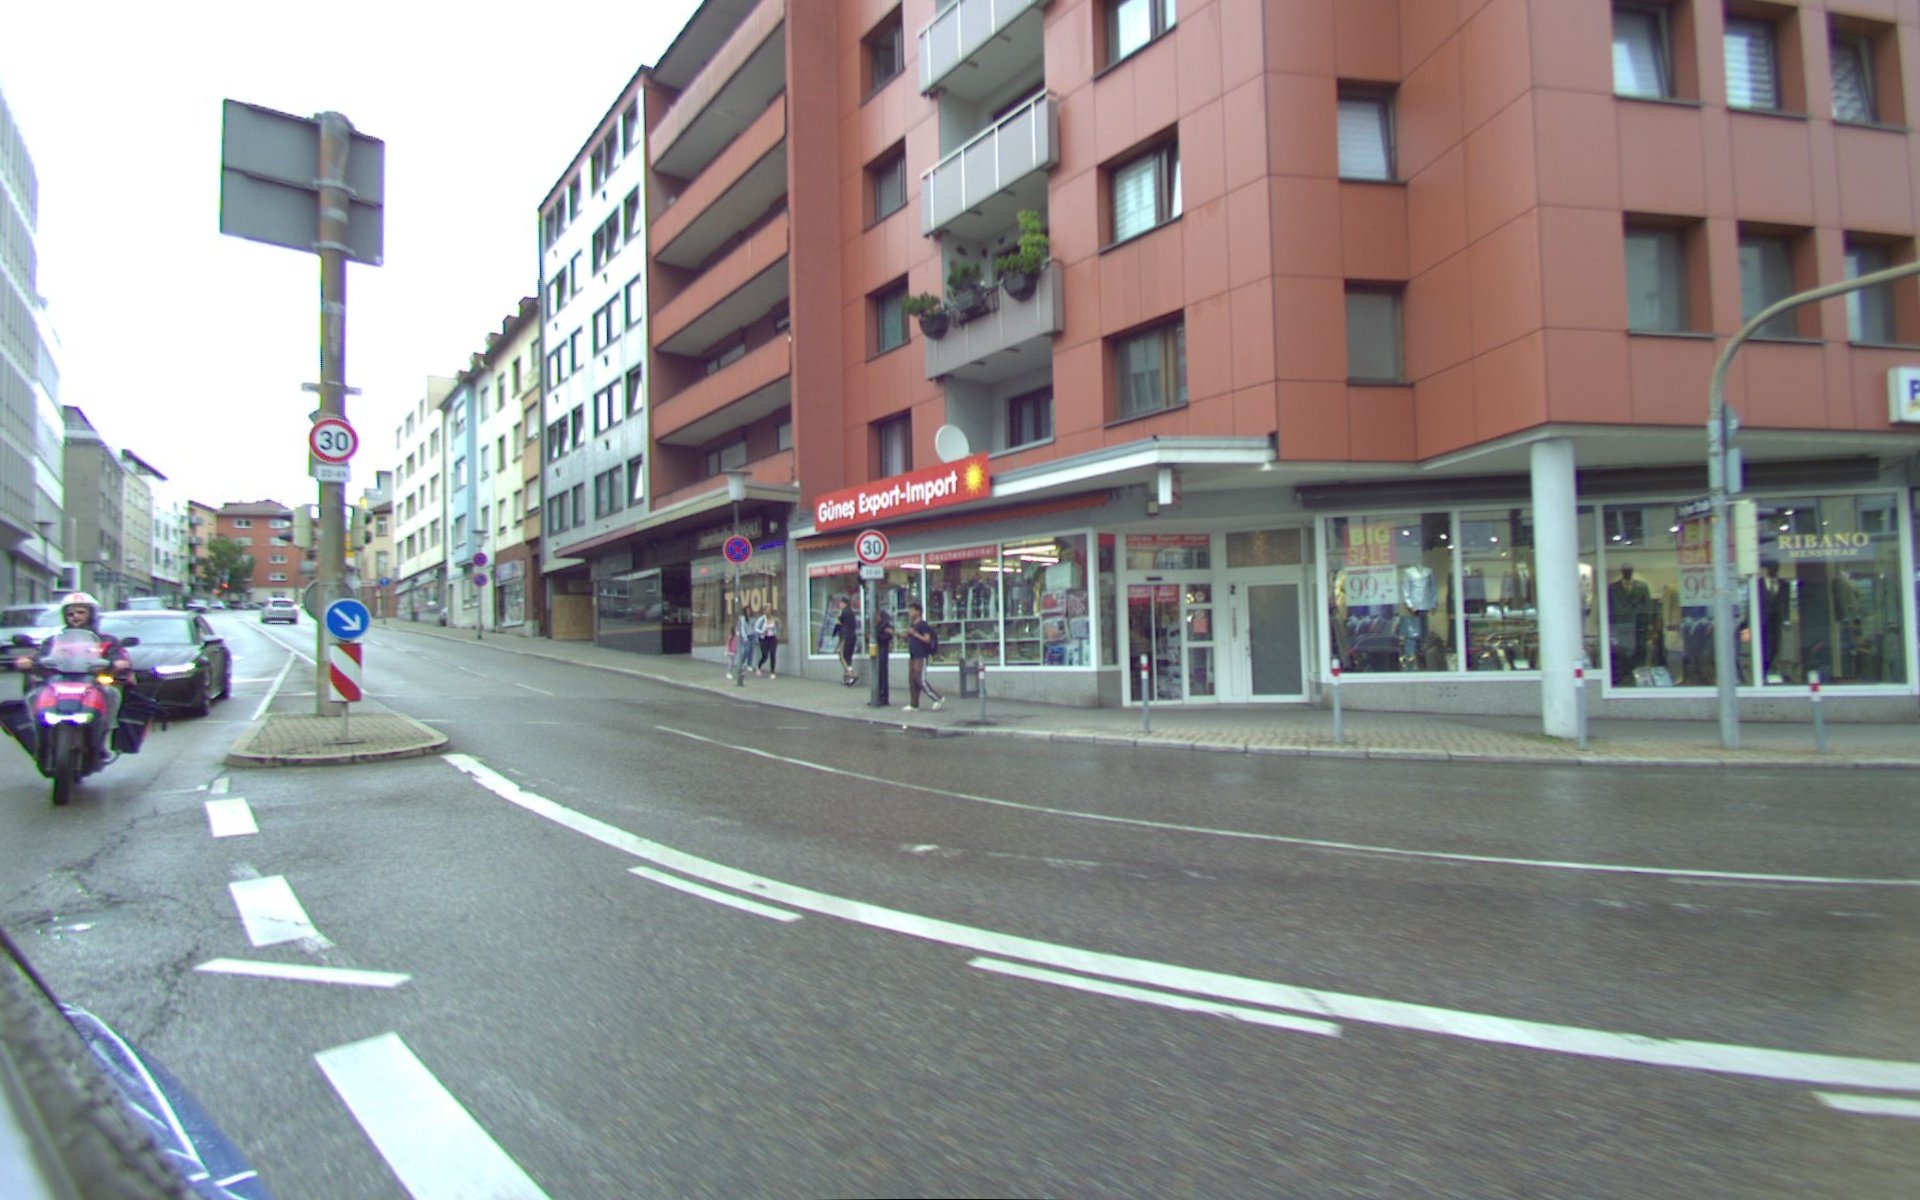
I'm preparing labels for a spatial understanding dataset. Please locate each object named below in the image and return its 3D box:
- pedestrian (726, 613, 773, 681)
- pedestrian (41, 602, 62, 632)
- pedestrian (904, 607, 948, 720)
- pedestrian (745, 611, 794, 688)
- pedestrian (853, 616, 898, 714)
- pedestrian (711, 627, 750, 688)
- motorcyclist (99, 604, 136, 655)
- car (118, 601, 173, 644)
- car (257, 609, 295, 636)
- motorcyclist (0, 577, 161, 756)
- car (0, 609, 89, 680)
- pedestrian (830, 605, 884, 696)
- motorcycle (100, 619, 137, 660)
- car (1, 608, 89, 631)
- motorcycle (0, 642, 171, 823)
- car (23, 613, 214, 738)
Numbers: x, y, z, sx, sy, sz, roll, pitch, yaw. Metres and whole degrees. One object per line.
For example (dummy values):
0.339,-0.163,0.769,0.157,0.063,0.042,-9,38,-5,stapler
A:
-5.127,1.127,24.686,0.724,1.572,0.818,-1,1,45,pedestrian
-53.916,1.028,60.080,0.774,1.718,1.123,4,-2,-39,pedestrian
-0.575,1.048,17.069,0.713,1.845,0.830,0,-1,-2,pedestrian
-4.388,1.114,23.287,0.724,1.702,0.818,-1,1,45,pedestrian
-1.525,1.144,18.212,0.547,1.710,0.625,1,-1,-40,pedestrian
-5.262,1.306,23.208,0.527,1.333,0.724,-2,1,-45,pedestrian
-27.569,0.941,33.111,0.834,1.601,0.964,-3,1,-41,motorcyclist
-37.620,1.009,46.811,1.820,1.918,3.773,0,-1,-37,car
-43.557,1.420,64.429,1.712,1.605,4.185,4,-2,-37,car
-7.385,0.534,8.475,0.994,1.391,0.837,2,-2,-34,motorcyclist
-23.155,1.061,25.400,1.803,1.552,4.259,-4,2,-40,car
-2.155,1.029,21.223,0.844,1.862,0.752,-1,-1,42,pedestrian
-27.612,1.275,33.184,0.834,1.235,2.376,-3,2,-41,motorcycle
-66.621,1.385,73.784,4.459,1.515,2.006,-2,0,-32,car
-7.454,1.007,8.581,0.994,1.235,2.701,2,-2,-34,motorcycle
-12.075,0.958,14.776,1.678,1.471,4.330,-2,1,-34,car
